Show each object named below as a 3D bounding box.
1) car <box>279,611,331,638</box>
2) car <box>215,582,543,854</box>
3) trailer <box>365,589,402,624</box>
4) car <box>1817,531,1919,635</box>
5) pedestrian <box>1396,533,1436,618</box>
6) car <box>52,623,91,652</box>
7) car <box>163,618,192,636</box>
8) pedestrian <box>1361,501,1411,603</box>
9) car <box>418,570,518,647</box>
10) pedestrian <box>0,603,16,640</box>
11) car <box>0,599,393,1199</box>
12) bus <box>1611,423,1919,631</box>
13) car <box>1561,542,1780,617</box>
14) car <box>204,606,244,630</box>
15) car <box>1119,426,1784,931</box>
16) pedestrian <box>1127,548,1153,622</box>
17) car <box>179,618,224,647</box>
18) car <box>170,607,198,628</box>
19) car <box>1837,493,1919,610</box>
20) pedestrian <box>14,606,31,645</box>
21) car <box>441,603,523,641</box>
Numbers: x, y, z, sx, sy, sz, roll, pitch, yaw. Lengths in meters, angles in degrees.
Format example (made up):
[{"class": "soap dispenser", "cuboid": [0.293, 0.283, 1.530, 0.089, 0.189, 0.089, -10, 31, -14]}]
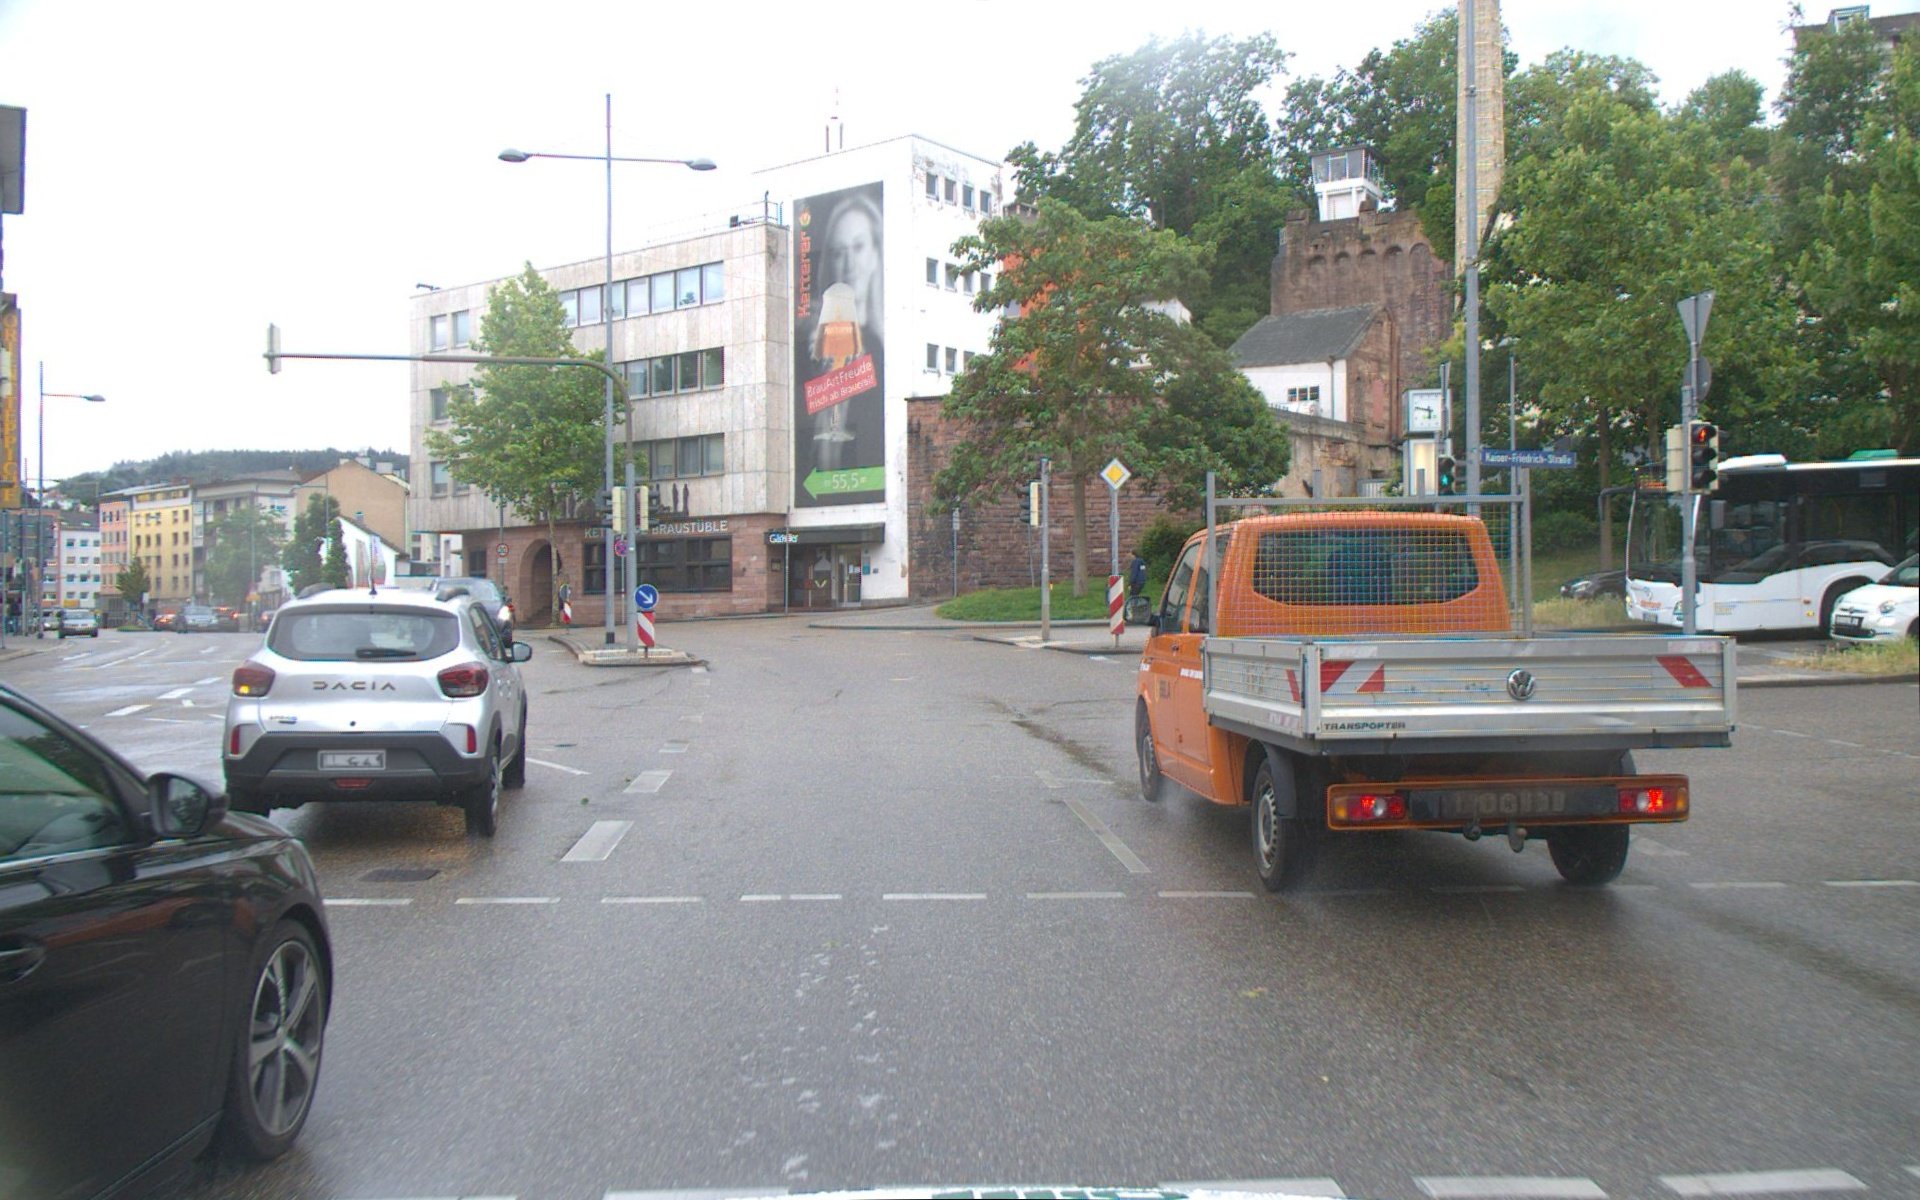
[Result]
[{"class": "car", "cuboid": [-37.358, 1.397, 94.261, 1.655, 1.420, 3.810, -1, 1, -40]}, {"class": "car", "cuboid": [-3.686, 0.637, 11.040, 1.509, 1.487, 3.620, 0, 0, -11]}, {"class": "trailer", "cuboid": [-48.579, 0.559, 139.247, 2.103, 2.763, 5.341, -3, 1, -28]}, {"class": "car", "cuboid": [14.794, -0.284, 24.414, 3.486, 1.476, 1.589, -1, 2, -3]}, {"class": "pedestrian", "cuboid": [9.420, -0.510, 34.191, 0.548, 1.735, 0.525, -3, 1, -22]}, {"class": "car", "cuboid": [-45.893, 1.968, 85.397, 1.709, 1.390, 4.070, -1, -2, -29]}, {"class": "car", "cuboid": [-66.469, 2.293, 140.423, 1.932, 1.420, 3.828, 0, 1, -30]}, {"class": "pedestrian", "cuboid": [8.735, -0.992, 33.913, 0.771, 2.048, 0.587, -1, 2, 35]}, {"class": "car", "cuboid": [-11.555, 0.168, 38.688, 1.732, 1.642, 4.180, -2, 1, -24]}, {"class": "pedestrian", "cuboid": [-45.146, 1.036, 78.326, 0.623, 1.705, 0.898, 5, -4, -31]}, {"class": "car", "cuboid": [-2.547, 0.717, 2.787, 1.763, 1.459, 4.394, 1, -1, -2]}, {"class": "bus", "cuboid": [16.130, -1.230, 27.750, 9.434, 3.272, 2.704, -1, 2, -3]}, {"class": "car", "cuboid": [14.861, -0.415, 34.795, 3.997, 1.398, 1.797, -2, 0, 16]}, {"class": "car", "cuboid": [-46.951, 1.157, 105.455, 1.651, 1.420, 3.820, 0, 1, -35]}, {"class": "car", "cuboid": [2.369, 0.370, 9.791, 2.060, 2.126, 5.538, 1, -1, -3]}, {"class": "pedestrian", "cuboid": [4.489, -0.366, 41.223, 0.584, 1.812, 0.657, 1, -2, 8]}, {"class": "car", "cuboid": [-40.729, 1.727, 88.758, 1.715, 1.465, 4.367, -1, 0, -30]}, {"class": "car", "cuboid": [-59.036, 1.313, 125.787, 1.647, 1.420, 3.828, 0, 1, -30]}, {"class": "car", "cuboid": [21.263, -1.056, 33.049, 6.187, 2.273, 2.257, -2, 0, 16]}, {"class": "pedestrian", "cuboid": [-44.523, 1.202, 78.583, 0.569, 1.820, 0.818, 5, -4, -30]}, {"class": "car", "cuboid": [-18.625, 0.851, 64.358, 1.774, 1.427, 4.578, 0, -1, -34]}]
